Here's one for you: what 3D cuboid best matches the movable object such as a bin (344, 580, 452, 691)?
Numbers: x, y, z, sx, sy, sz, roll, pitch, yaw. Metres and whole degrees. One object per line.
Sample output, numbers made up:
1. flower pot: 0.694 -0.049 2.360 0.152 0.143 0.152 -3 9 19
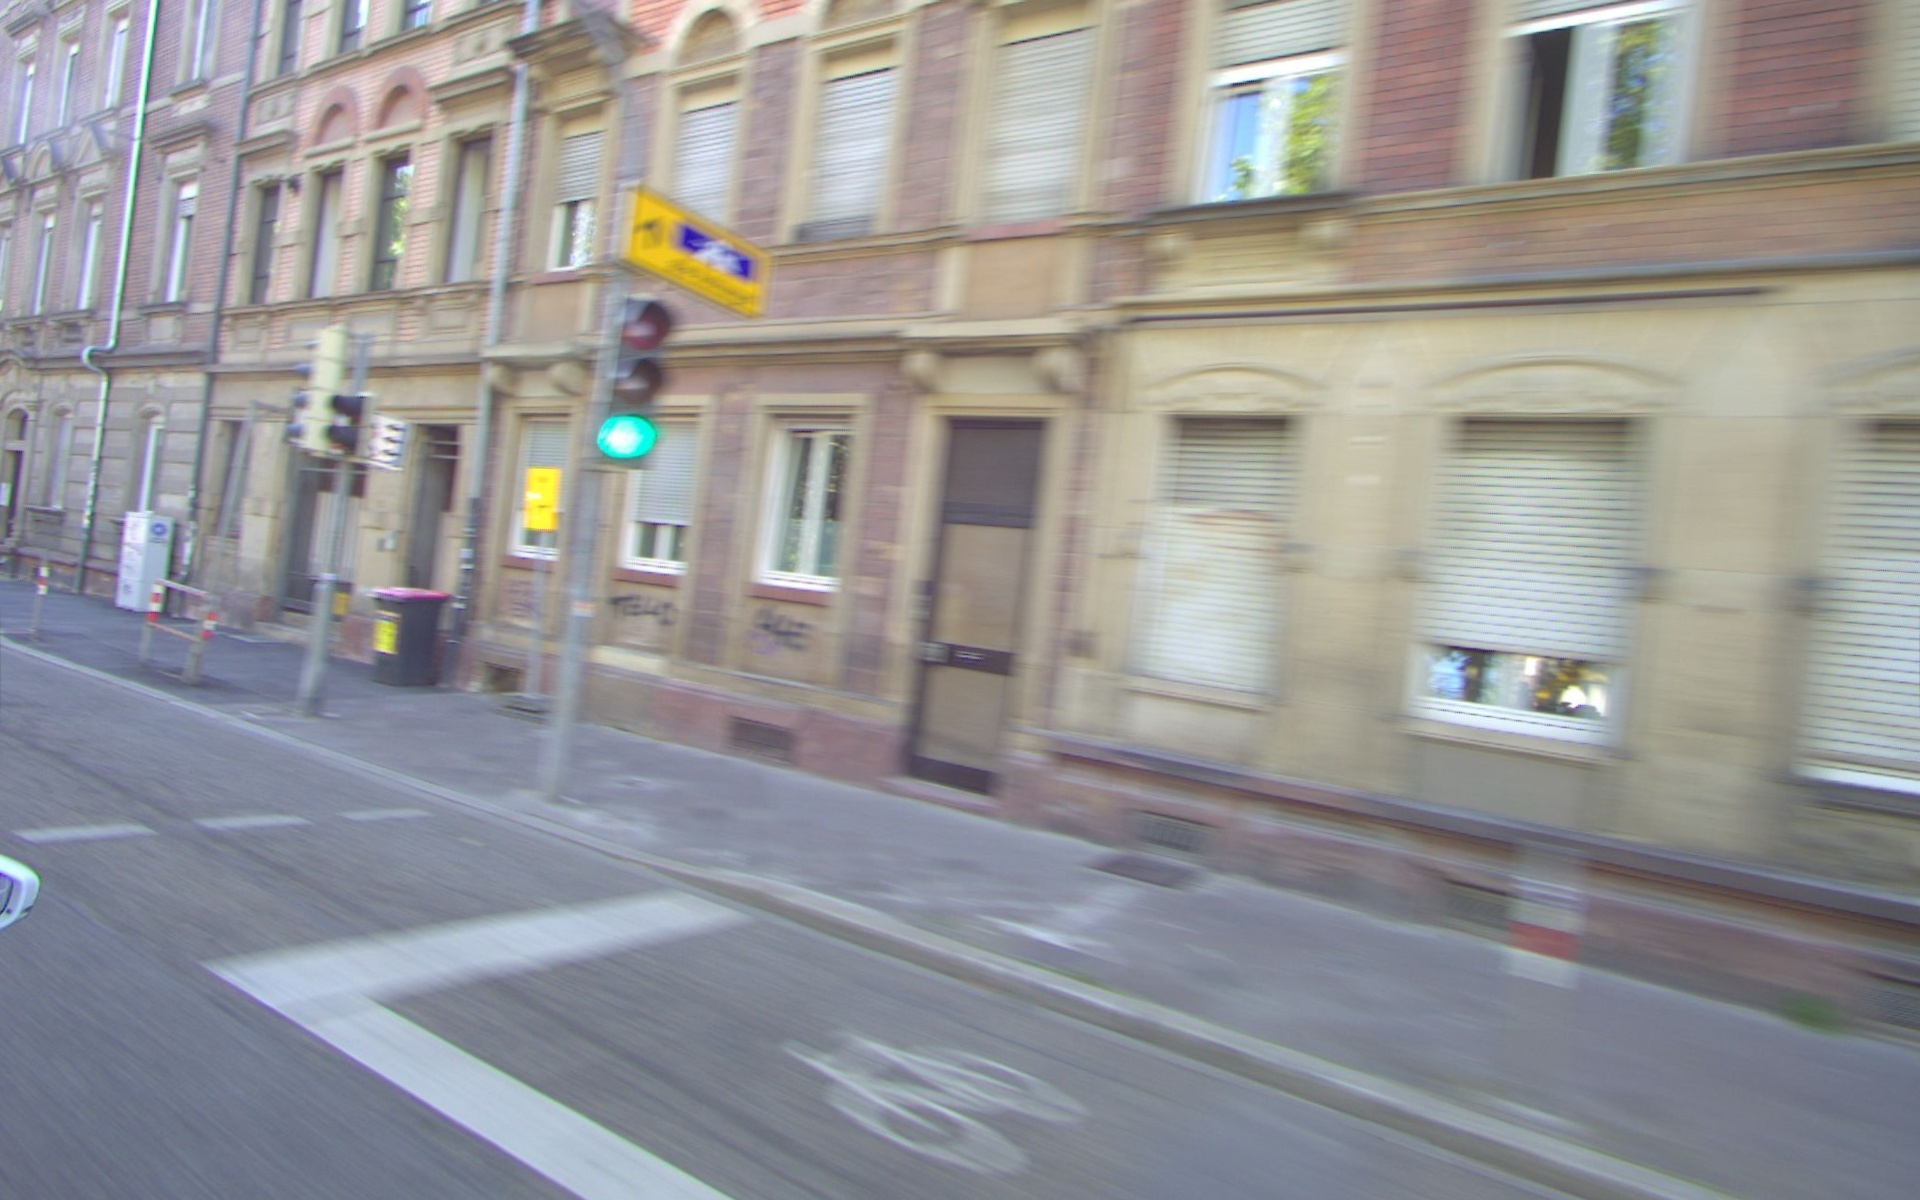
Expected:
1. movable object such as a bin: -6.324 0.406 11.335 0.767 1.122 0.622 6 -2 28
